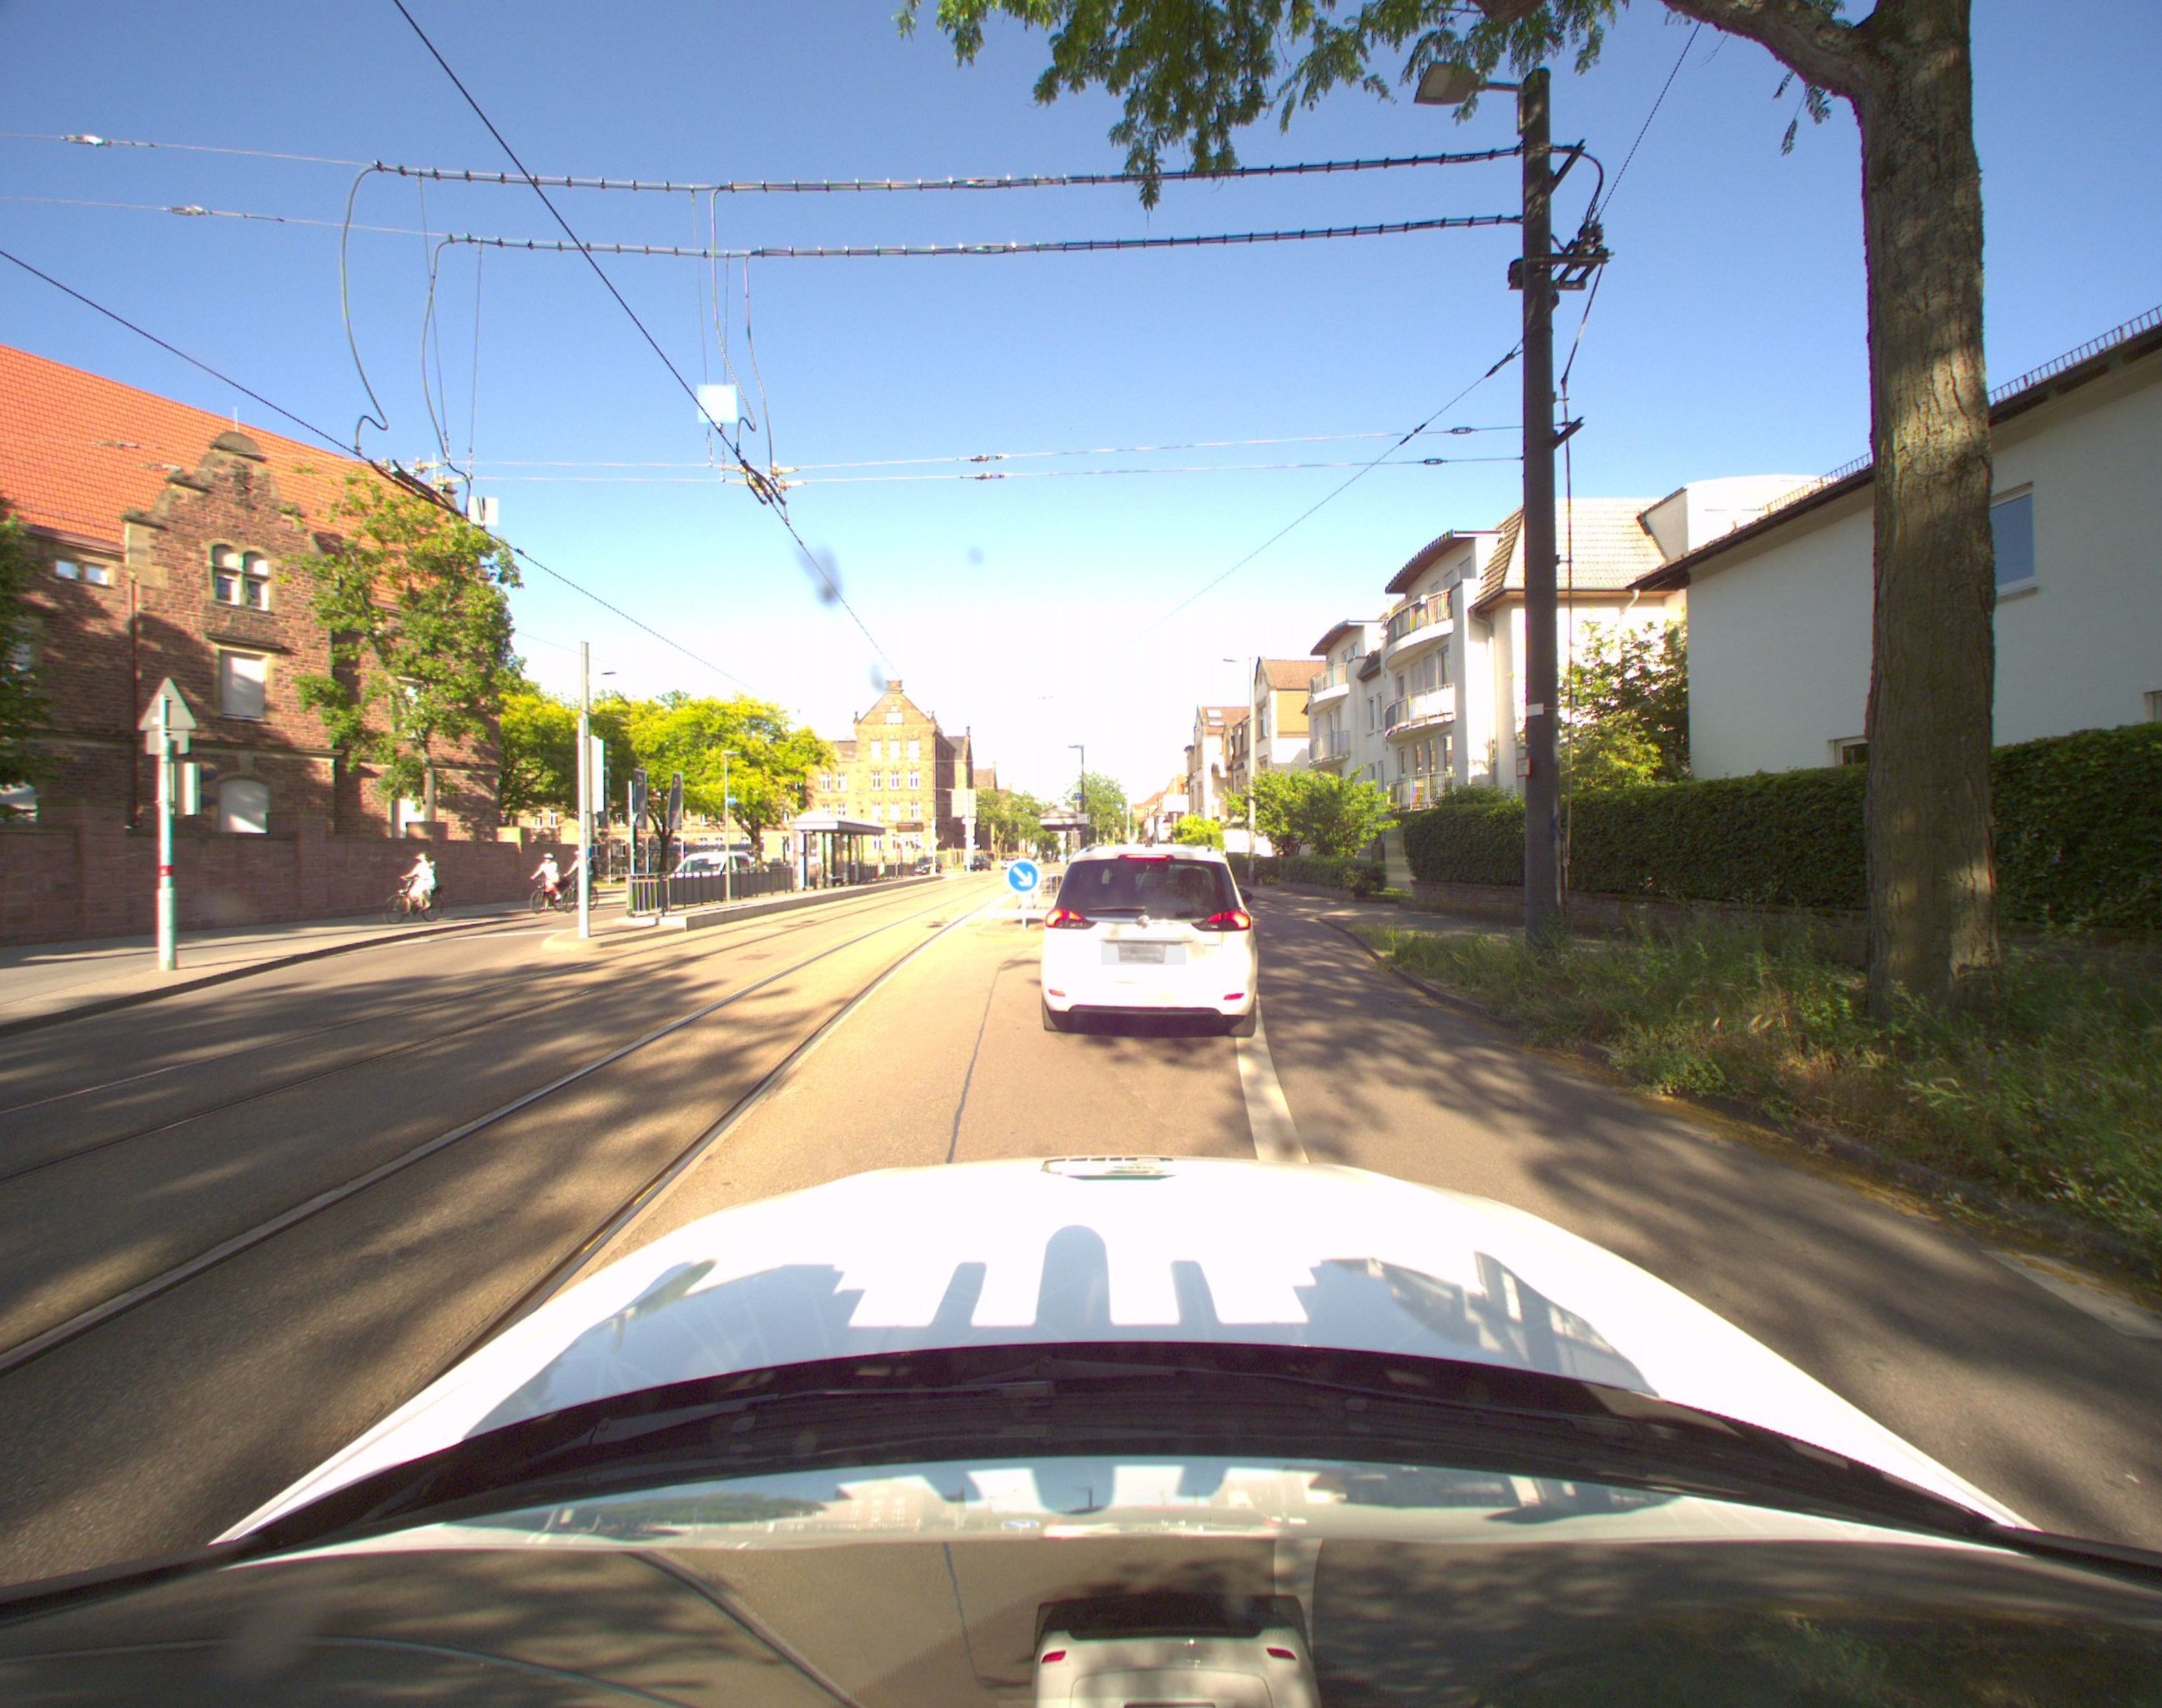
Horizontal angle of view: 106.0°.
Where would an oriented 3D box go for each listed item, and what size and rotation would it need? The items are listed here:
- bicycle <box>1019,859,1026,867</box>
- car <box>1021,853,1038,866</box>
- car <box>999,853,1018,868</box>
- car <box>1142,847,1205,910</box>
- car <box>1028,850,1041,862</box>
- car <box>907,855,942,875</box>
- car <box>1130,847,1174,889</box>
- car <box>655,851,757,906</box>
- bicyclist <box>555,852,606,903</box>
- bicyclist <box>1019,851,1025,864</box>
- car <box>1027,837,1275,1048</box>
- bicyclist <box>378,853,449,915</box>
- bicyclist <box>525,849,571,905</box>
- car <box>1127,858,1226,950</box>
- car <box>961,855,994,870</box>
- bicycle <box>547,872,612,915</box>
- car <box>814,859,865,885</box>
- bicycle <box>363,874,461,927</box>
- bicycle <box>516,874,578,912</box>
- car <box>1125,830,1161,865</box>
[{"bbox_3d":[-7.851,1.197,109.003,0.723,0.965,2.060,0,1,0],"label":"bicycle"},{"bbox_3d":[-7.874,0.819,124.734,1.985,2.014,4.003,0,-1,3],"label":"car"},{"bbox_3d":[-8.622,0.814,97.087,1.820,1.788,4.329,-1,-1,2],"label":"car"},{"bbox_3d":[2.527,0.619,22.972,1.562,1.614,3.787,1,0,3],"label":"car"},{"bbox_3d":[-7.776,0.359,137.365,1.987,2.014,4.000,0,-1,0],"label":"car"},{"bbox_3d":[-13.342,0.925,69.560,1.819,1.617,4.332,-1,-1,4],"label":"car"},{"bbox_3d":[2.905,0.550,33.822,1.590,1.635,3.903,1,0,2],"label":"car"},{"bbox_3d":[-13.318,0.804,29.234,1.822,1.788,4.250,-1,0,-3],"label":"car"},{"bbox_3d":[-15.622,0.717,25.436,0.758,1.536,1.347,-1,0,-2],"label":"bicyclist"},{"bbox_3d":[-7.861,0.413,109.018,0.723,1.688,1.169,0,1,0],"label":"bicyclist"},{"bbox_3d":[0.777,0.665,8.195,1.868,1.585,4.008,0,0,7],"label":"car"},{"bbox_3d":[-16.447,0.716,20.087,0.754,1.471,1.190,0,-1,0],"label":"bicyclist"},{"bbox_3d":[-16.624,0.698,25.428,0.648,1.674,1.232,0,1,-2],"label":"bicyclist"},{"bbox_3d":[1.767,0.799,14.872,1.560,1.401,3.792,1,0,7],"label":"car"},{"bbox_3d":[-10.526,0.865,83.346,1.814,1.446,4.344,-1,-1,14],"label":"car"},{"bbox_3d":[-15.610,1.202,25.433,0.775,1.231,2.087,-1,0,-2],"label":"bicycle"},{"bbox_3d":[-14.484,1.043,49.114,1.793,1.382,4.492,-1,0,-2],"label":"car"},{"bbox_3d":[-16.447,1.107,20.089,0.812,1.198,1.952,0,0,0],"label":"bicycle"},{"bbox_3d":[-16.630,1.193,25.419,0.667,1.072,2.013,0,0,-2],"label":"bicycle"},{"bbox_3d":[3.054,-0.346,40.436,1.590,1.635,3.903,1,1,2],"label":"car"}]
